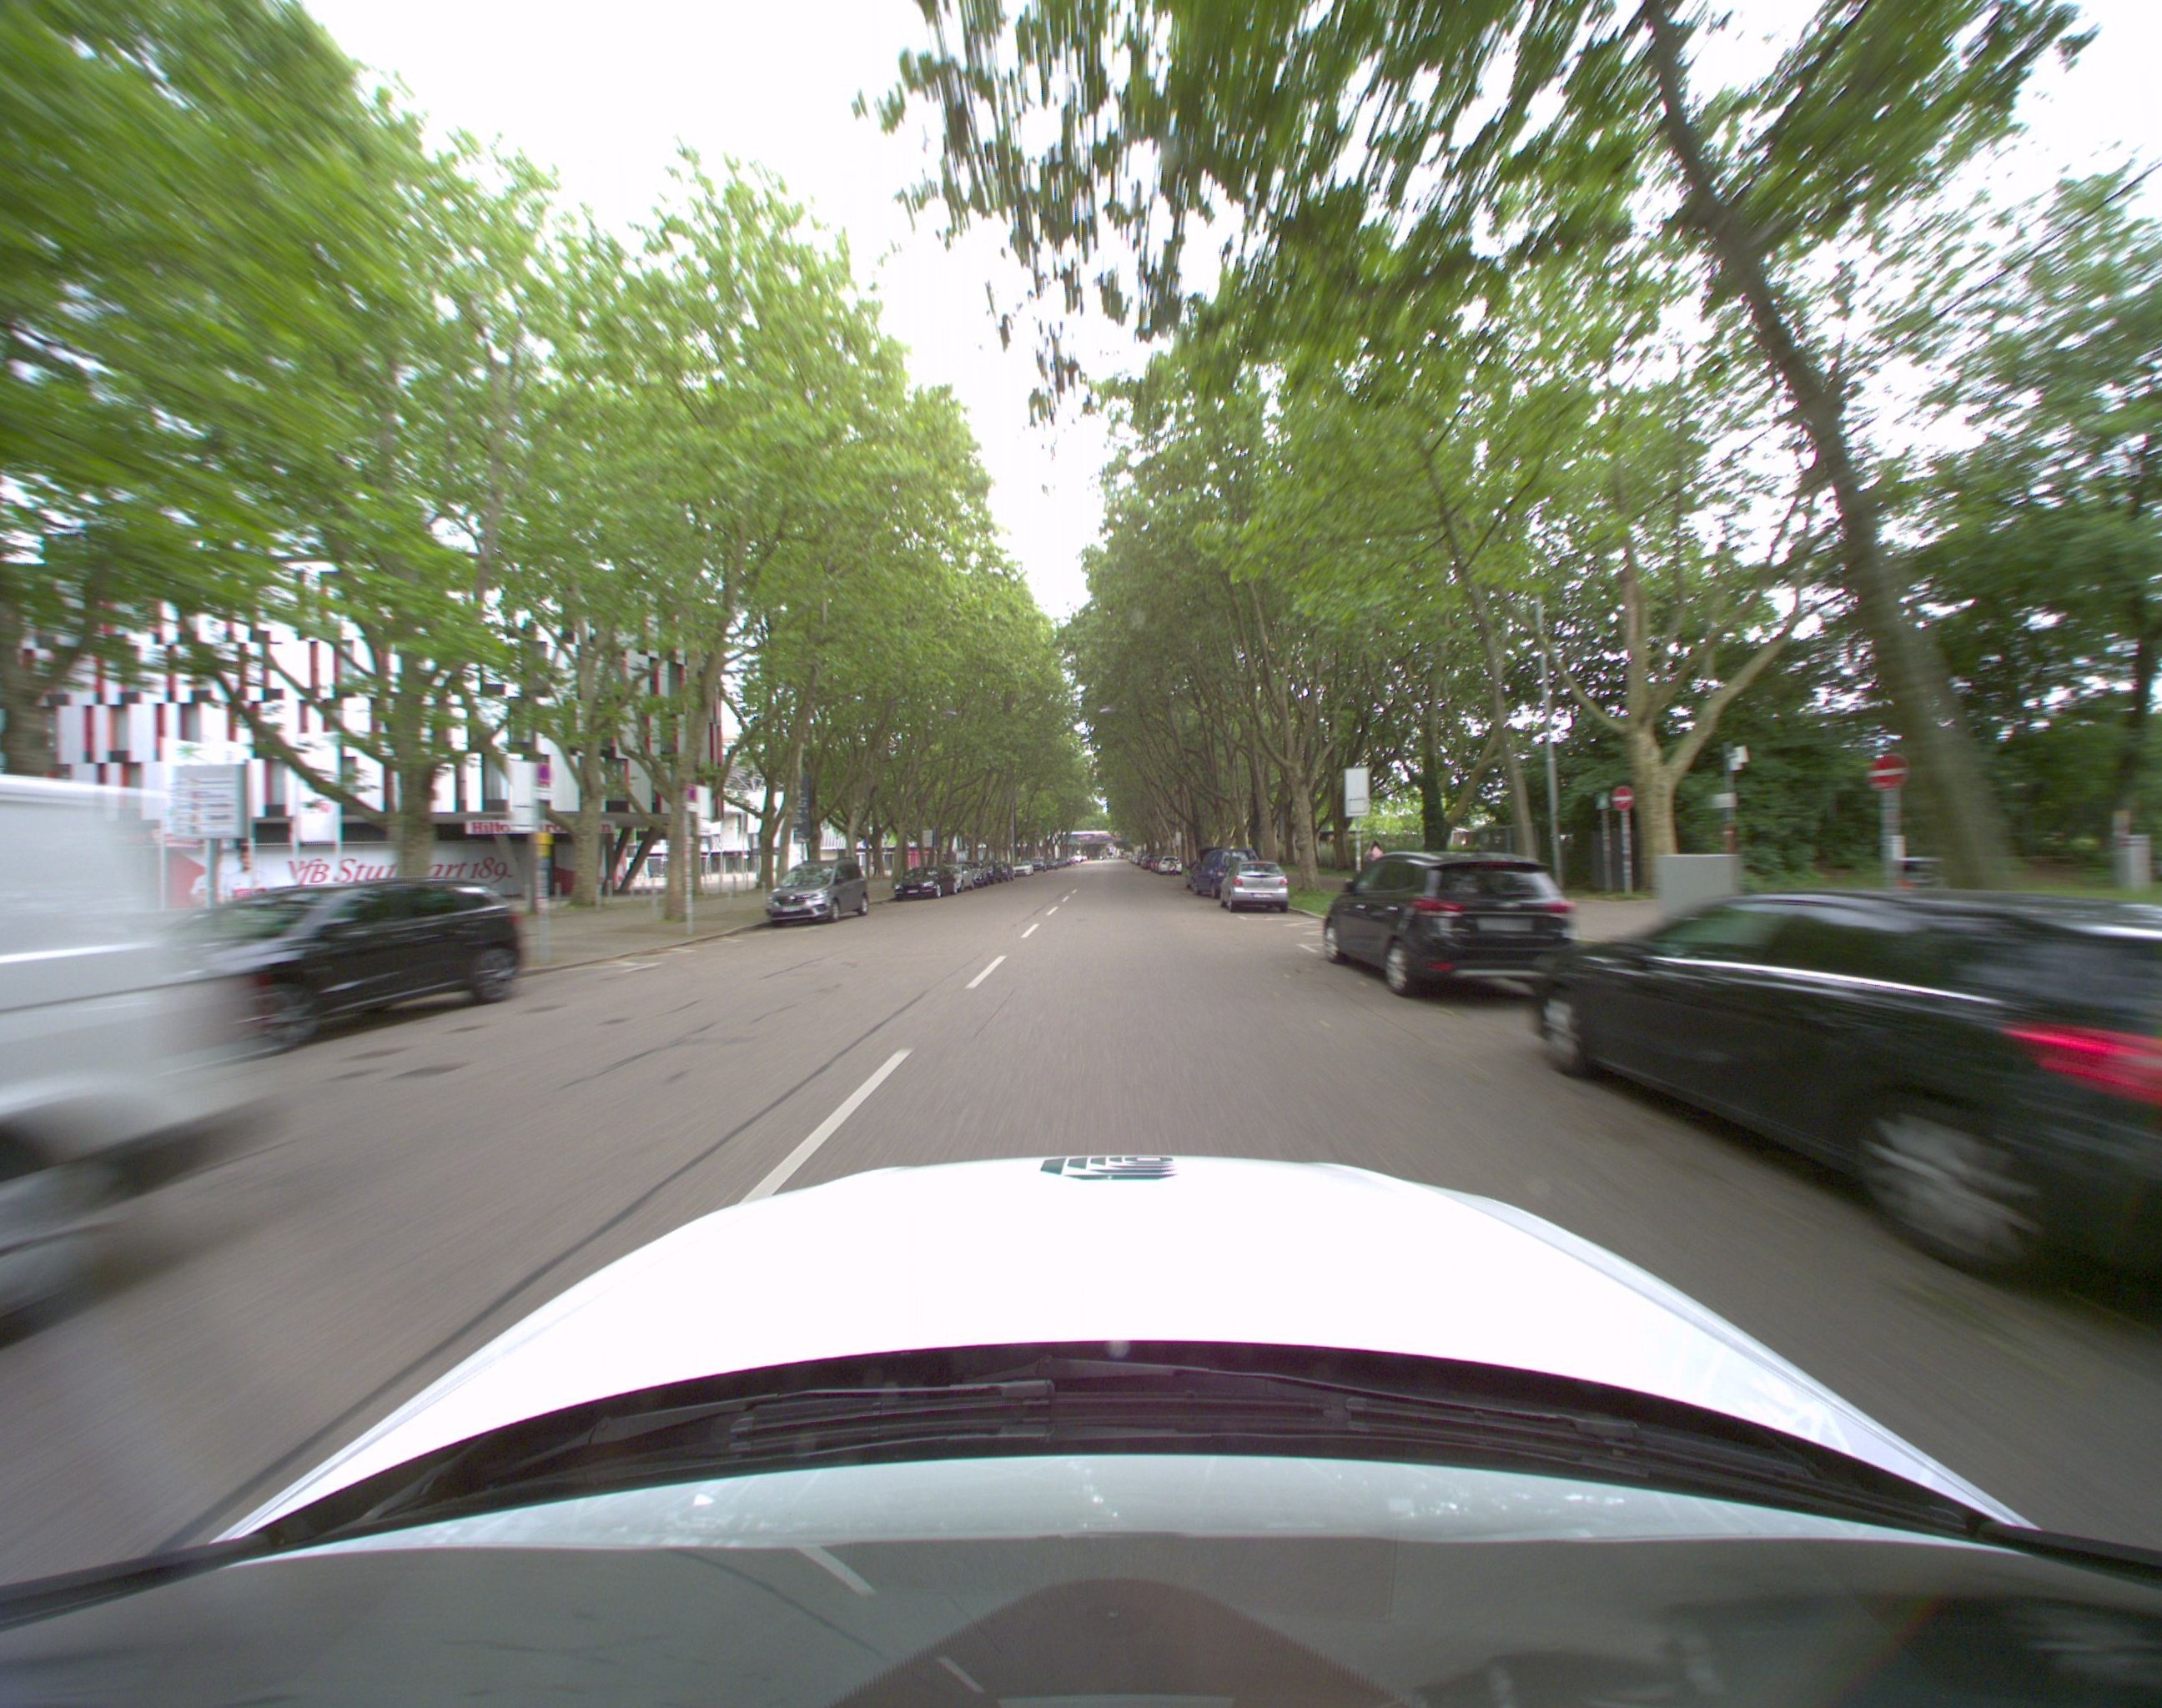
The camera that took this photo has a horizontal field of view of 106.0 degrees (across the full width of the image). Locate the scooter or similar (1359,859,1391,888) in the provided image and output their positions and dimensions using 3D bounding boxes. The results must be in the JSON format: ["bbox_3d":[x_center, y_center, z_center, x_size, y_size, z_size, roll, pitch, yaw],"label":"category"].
[{"bbox_3d":[11.152,0.731,30.909,0.677,1.038,1.468,-4,0,2],"label":"scooter or similar"}]

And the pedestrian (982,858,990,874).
[{"bbox_3d":[-11.151,1.406,95.459,0.570,1.742,0.771,-2,-1,17],"label":"pedestrian"}]

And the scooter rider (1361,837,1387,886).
[{"bbox_3d":[11.131,0.280,30.919,0.674,1.800,0.588,-3,-1,2],"label":"scooter rider"}]

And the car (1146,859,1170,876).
[{"bbox_3d":[7.152,1.242,76.240,1.711,1.438,4.626,1,0,-2],"label":"car"}]

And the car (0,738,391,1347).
[{"bbox_3d":[-4.590,0.645,1.319,2.051,1.961,5.469,-2,0,3],"label":"car"}]

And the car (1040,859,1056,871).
[{"bbox_3d":[-4.338,1.488,108.626,1.718,1.486,4.577,-2,0,3],"label":"car"}]

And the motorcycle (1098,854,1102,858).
[{"bbox_3d":[5.496,0.606,235.266,0.870,1.079,3.051,-1,0,-1],"label":"motorcycle"}]

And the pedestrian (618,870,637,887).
[{"bbox_3d":[-40.174,2.144,72.205,1.041,1.462,1.110,-2,-1,0],"label":"pedestrian"}]

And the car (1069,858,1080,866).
[{"bbox_3d":[-1.459,1.790,180.175,2.065,1.563,4.759,-1,0,3],"label":"car"}]

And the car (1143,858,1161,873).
[{"bbox_3d":[7.659,1.212,87.656,1.748,1.620,4.442,0,0,3],"label":"car"}]

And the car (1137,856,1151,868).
[{"bbox_3d":[8.997,1.143,116.981,1.701,1.698,4.631,0,0,1],"label":"car"}]

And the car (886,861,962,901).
[{"bbox_3d":[-7.025,1.180,36.992,2.075,1.530,5.150,-3,0,4],"label":"car"}]

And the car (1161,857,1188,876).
[{"bbox_3d":[7.475,0.948,65.500,1.729,1.438,4.123,-2,0,1],"label":"car"}]

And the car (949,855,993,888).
[{"bbox_3d":[-6.409,0.998,47.907,1.864,1.718,4.646,-5,0,-1],"label":"car"}]

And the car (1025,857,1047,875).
[{"bbox_3d":[-4.934,1.318,90.650,1.941,1.750,4.640,-3,-1,2],"label":"car"}]

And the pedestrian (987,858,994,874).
[{"bbox_3d":[-10.562,1.400,95.264,0.572,1.770,0.771,-2,-1,17],"label":"pedestrian"}]

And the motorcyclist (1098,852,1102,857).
[{"bbox_3d":[5.495,0.190,235.346,0.868,1.480,1.264,-1,-1,-1],"label":"motorcyclist"}]

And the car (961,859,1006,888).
[{"bbox_3d":[-6.382,1.230,53.951,1.929,1.643,4.933,-5,0,4],"label":"car"}]

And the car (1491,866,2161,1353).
[{"bbox_3d":[4.199,0.824,4.602,1.768,1.418,4.290,1,0,3],"label":"car"}]

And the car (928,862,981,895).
[{"bbox_3d":[-6.538,1.253,42.463,1.826,1.456,4.233,-5,0,2],"label":"car"}]

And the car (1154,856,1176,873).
[{"bbox_3d":[7.341,0.915,71.248,1.723,1.470,4.083,1,0,3],"label":"car"}]

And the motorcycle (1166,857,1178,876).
[{"bbox_3d":[6.727,0.916,60.150,0.707,1.331,1.998,-1,0,11],"label":"motorcycle"}]

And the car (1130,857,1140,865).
[{"bbox_3d":[11.006,1.337,166.934,1.796,1.555,4.002,-1,0,2],"label":"car"}]

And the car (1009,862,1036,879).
[{"bbox_3d":[-5.501,1.493,77.170,1.896,1.403,4.754,-5,-1,2],"label":"car"}]

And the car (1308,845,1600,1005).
[{"bbox_3d":[4.415,0.719,10.515,1.822,1.602,4.468,1,0,1],"label":"car"}]

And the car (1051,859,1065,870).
[{"bbox_3d":[-3.581,1.632,126.406,1.870,1.527,4.154,-2,0,3],"label":"car"}]

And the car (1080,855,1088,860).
[{"bbox_3d":[0.896,0.967,233.619,1.989,1.601,3.996,-1,0,-3],"label":"car"}]

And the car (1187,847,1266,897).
[{"bbox_3d":[5.520,0.660,31.509,1.840,1.783,4.438,1,0,-6],"label":"car"}]

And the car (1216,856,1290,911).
[{"bbox_3d":[5.006,0.822,24.172,1.612,1.461,3.950,1,0,4],"label":"car"}]

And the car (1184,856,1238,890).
[{"bbox_3d":[5.968,0.851,37.758,1.986,1.478,4.374,0,0,2],"label":"car"}]

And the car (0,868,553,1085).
[{"bbox_3d":[-8.191,1.053,8.787,1.809,1.594,4.350,-5,-1,4],"label":"car"}]

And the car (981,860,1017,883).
[{"bbox_3d":[-5.935,1.249,59.498,1.826,1.494,4.445,-5,0,3],"label":"car"}]

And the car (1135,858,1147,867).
[{"bbox_3d":[9.551,1.345,129.871,1.700,1.427,3.891,0,0,3],"label":"car"}]

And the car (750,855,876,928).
[{"bbox_3d":[-7.672,1.006,23.826,1.888,1.795,4.614,-4,-1,2],"label":"car"}]
